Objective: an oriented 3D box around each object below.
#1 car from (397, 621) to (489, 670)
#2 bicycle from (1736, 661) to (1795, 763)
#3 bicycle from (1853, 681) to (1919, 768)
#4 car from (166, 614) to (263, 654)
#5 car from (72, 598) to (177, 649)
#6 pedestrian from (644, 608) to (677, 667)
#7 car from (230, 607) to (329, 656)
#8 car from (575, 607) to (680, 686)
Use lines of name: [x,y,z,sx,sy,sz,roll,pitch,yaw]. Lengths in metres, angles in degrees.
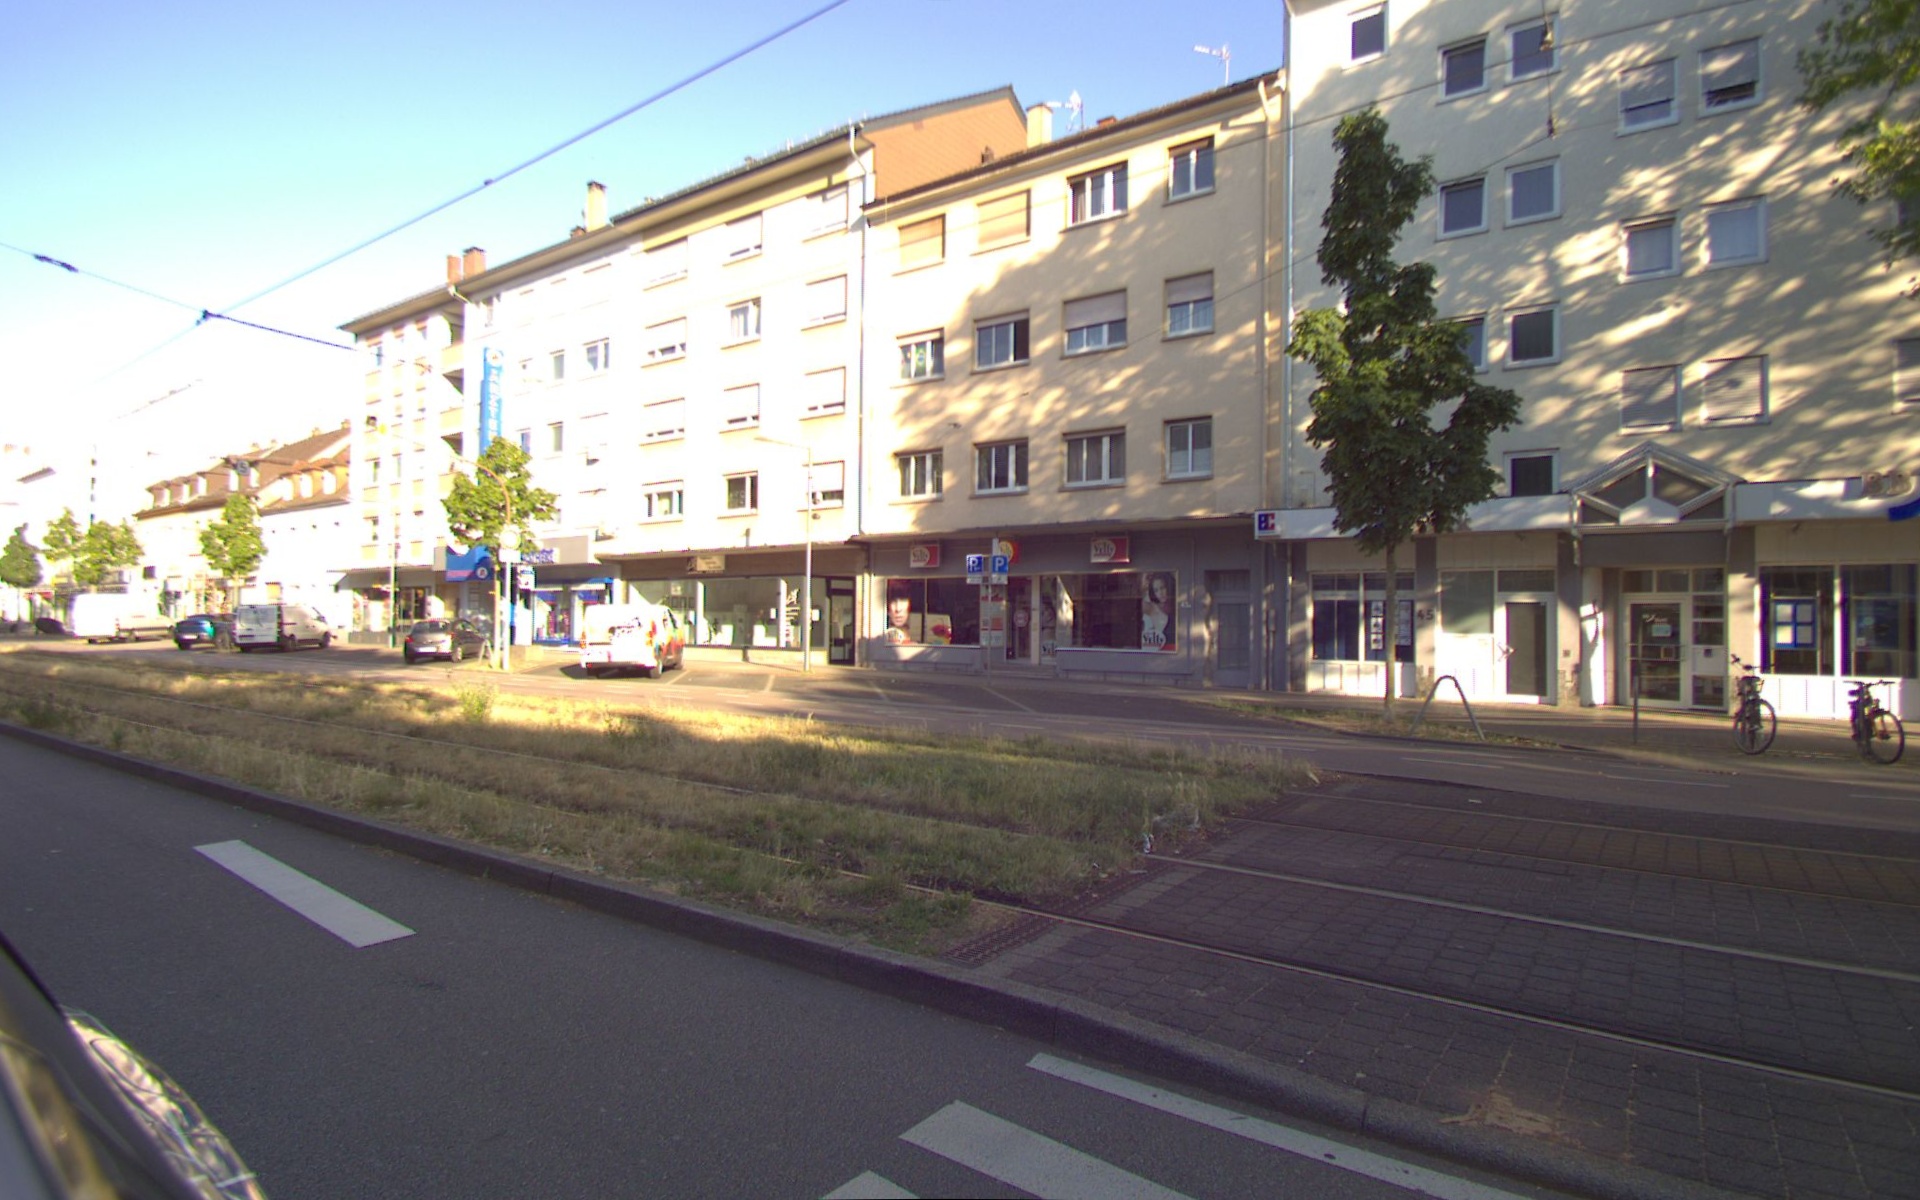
car: [-17.497,1.487,34.442,1.708,1.508,4.009,0,0,-10]
bicycle: [10.304,1.392,12.979,0.511,1.147,1.724,-1,-1,36]
bicycle: [11.366,1.494,12.396,0.471,0.895,1.724,-1,-1,36]
car: [-34.279,1.517,46.647,1.830,1.727,3.919,0,0,-4]
car: [-45.365,1.225,55.168,1.895,2.634,6.608,0,0,-16]
pedestrian: [-9.525,1.184,32.146,0.745,1.841,0.919,1,-1,-36]
car: [-28.637,1.287,42.765,1.828,1.952,4.514,0,0,-10]
car: [-8.800,1.158,27.118,1.830,1.913,4.005,0,0,-6]
